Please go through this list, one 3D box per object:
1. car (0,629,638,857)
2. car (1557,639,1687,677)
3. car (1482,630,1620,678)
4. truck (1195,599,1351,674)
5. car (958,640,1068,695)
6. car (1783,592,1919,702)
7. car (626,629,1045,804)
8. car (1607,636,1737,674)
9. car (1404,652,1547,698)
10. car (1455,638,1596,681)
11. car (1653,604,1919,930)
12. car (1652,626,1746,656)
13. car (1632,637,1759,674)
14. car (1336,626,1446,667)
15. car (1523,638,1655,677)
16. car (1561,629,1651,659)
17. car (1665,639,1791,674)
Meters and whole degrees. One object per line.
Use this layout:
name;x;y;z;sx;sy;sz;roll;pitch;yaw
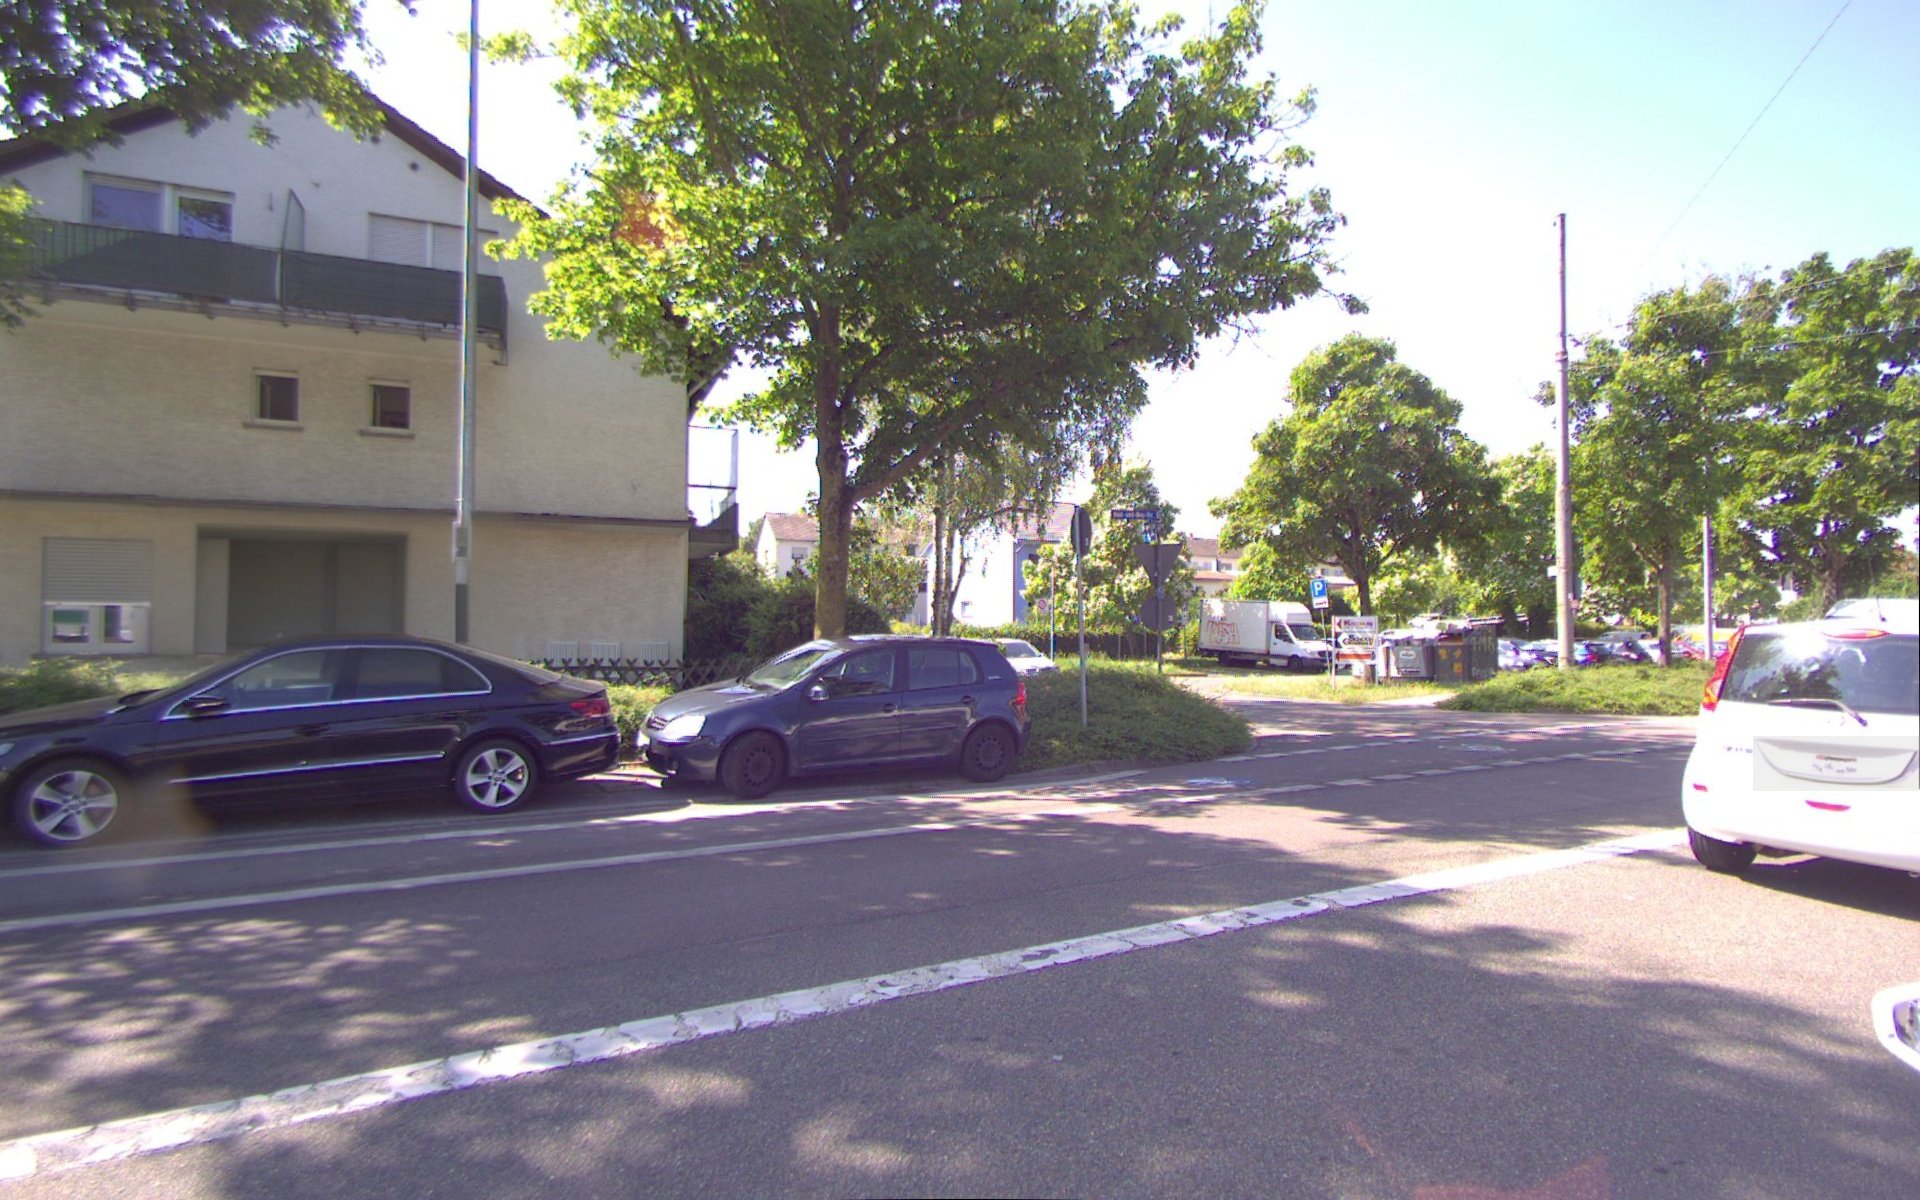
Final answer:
car;-5.233;1.005;8.359;4.568;1.434;1.854;1;0;-31
car;26.348;2.327;40.097;1.712;1.434;3.964;2;-4;-33
car;21.412;1.970;36.508;1.712;1.631;3.964;2;-4;-33
truck;14.413;1.597;46.838;2.646;3.151;6.967;1;0;-30
car;1.409;1.887;28.442;1.704;1.434;3.983;1;-3;-20
car;23.792;1.139;25.776;5.745;2.550;2.114;1;0;-29
car;-1.265;1.083;10.466;3.988;1.462;1.718;1;0;-28
car;28.827;2.242;40.785;1.712;1.434;3.964;2;-4;-33
car;17.320;2.488;33.900;1.712;1.434;3.964;2;-4;-33
car;19.693;2.074;35.123;1.712;1.434;3.964;2;-4;-33
car;6.400;0.847;6.245;4.491;1.568;1.655;1;-1;-29
car;50.507;2.769;68.698;2.043;1.811;4.762;2;0;-34
car;30.738;2.332;42.085;1.712;1.434;3.964;2;-4;-33
car;21.704;2.324;50.721;2.043;1.811;4.762;2;0;-34
car;24.168;2.211;38.716;1.712;1.434;3.964;2;-4;-33
car;44.512;2.986;69.299;2.043;1.811;4.762;2;0;-34
car;33.160;2.444;43.455;1.712;1.434;3.964;2;-4;-33
